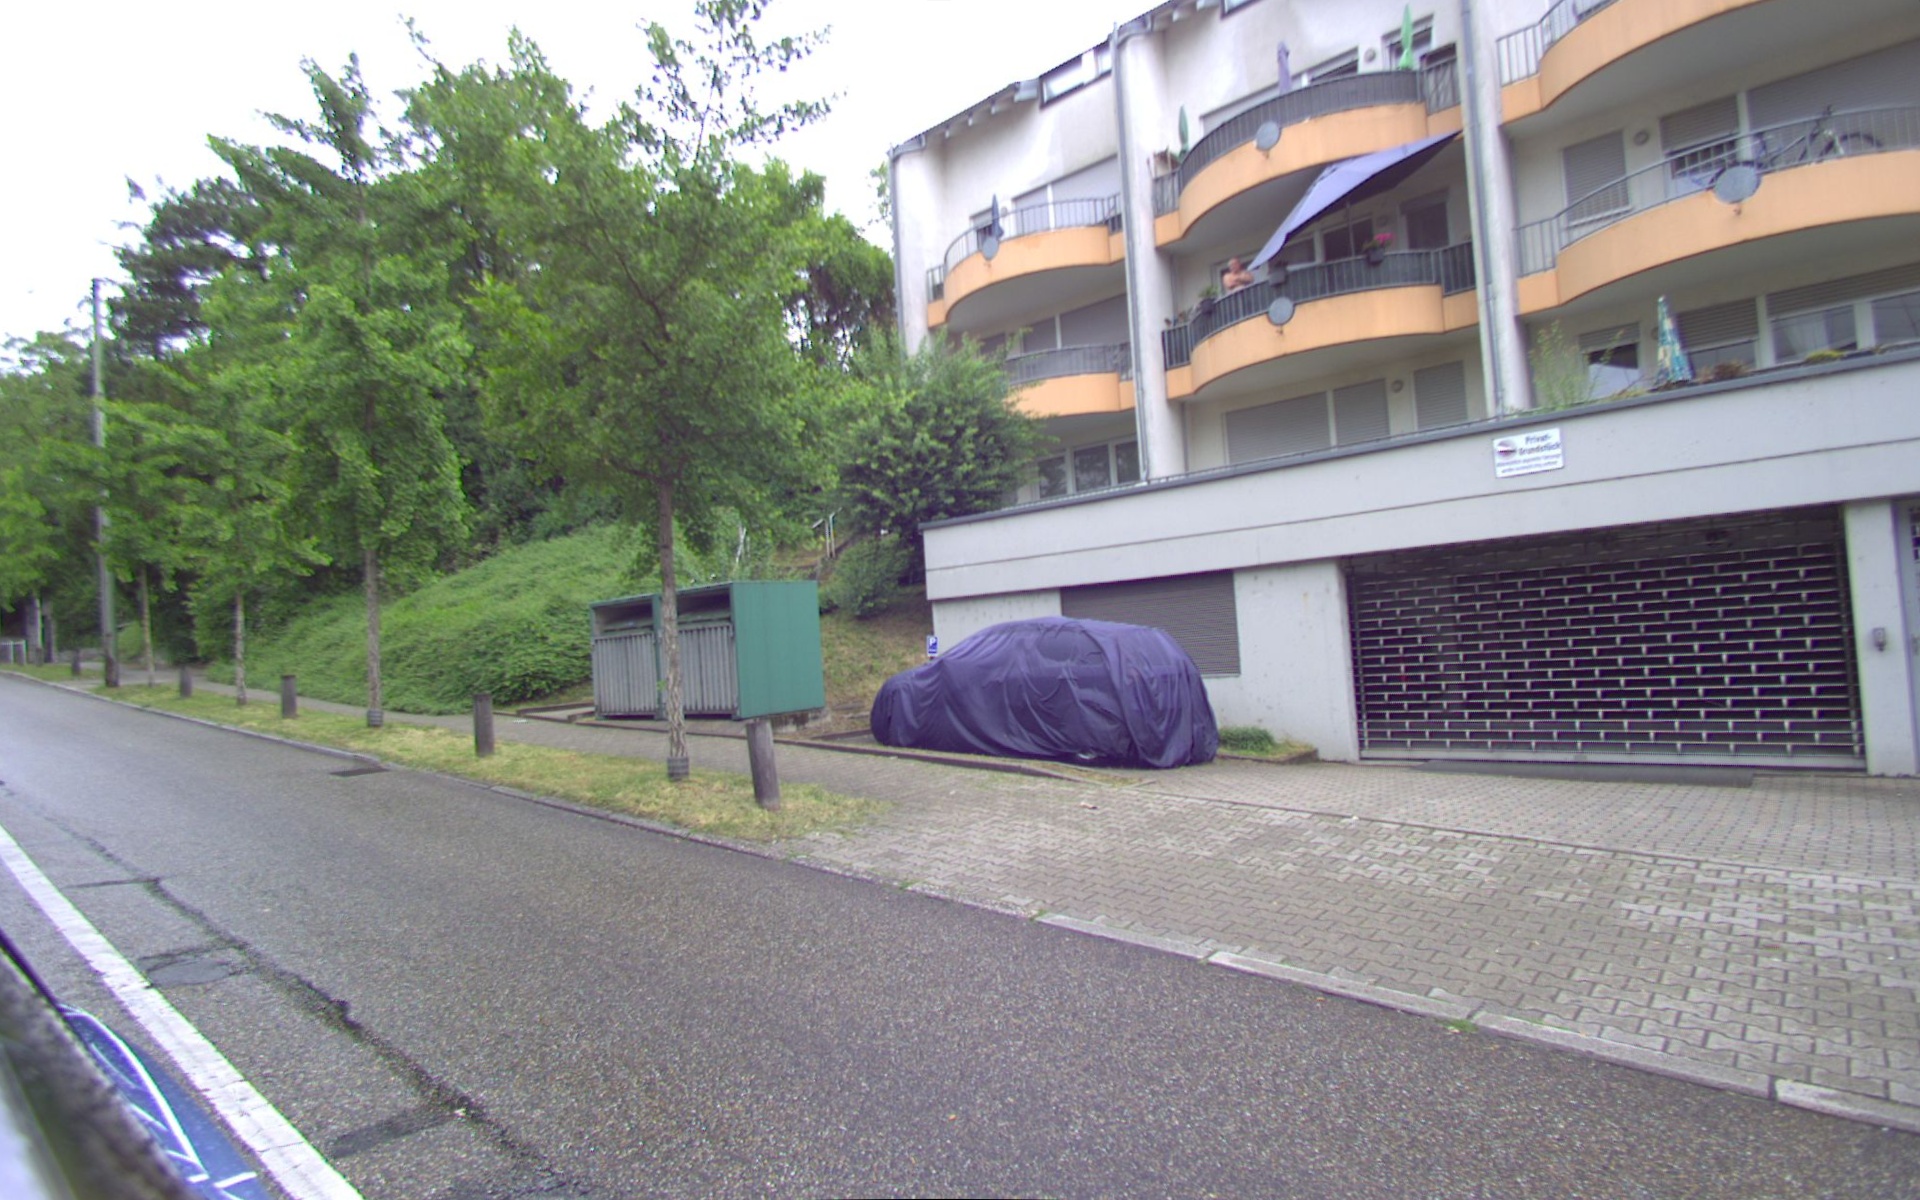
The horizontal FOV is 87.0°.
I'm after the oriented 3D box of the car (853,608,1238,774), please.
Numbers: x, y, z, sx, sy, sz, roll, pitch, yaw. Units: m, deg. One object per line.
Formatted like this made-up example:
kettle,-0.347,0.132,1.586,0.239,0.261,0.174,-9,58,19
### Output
car,0.847,0.911,11.112,3.862,1.503,1.832,-2,-4,39
